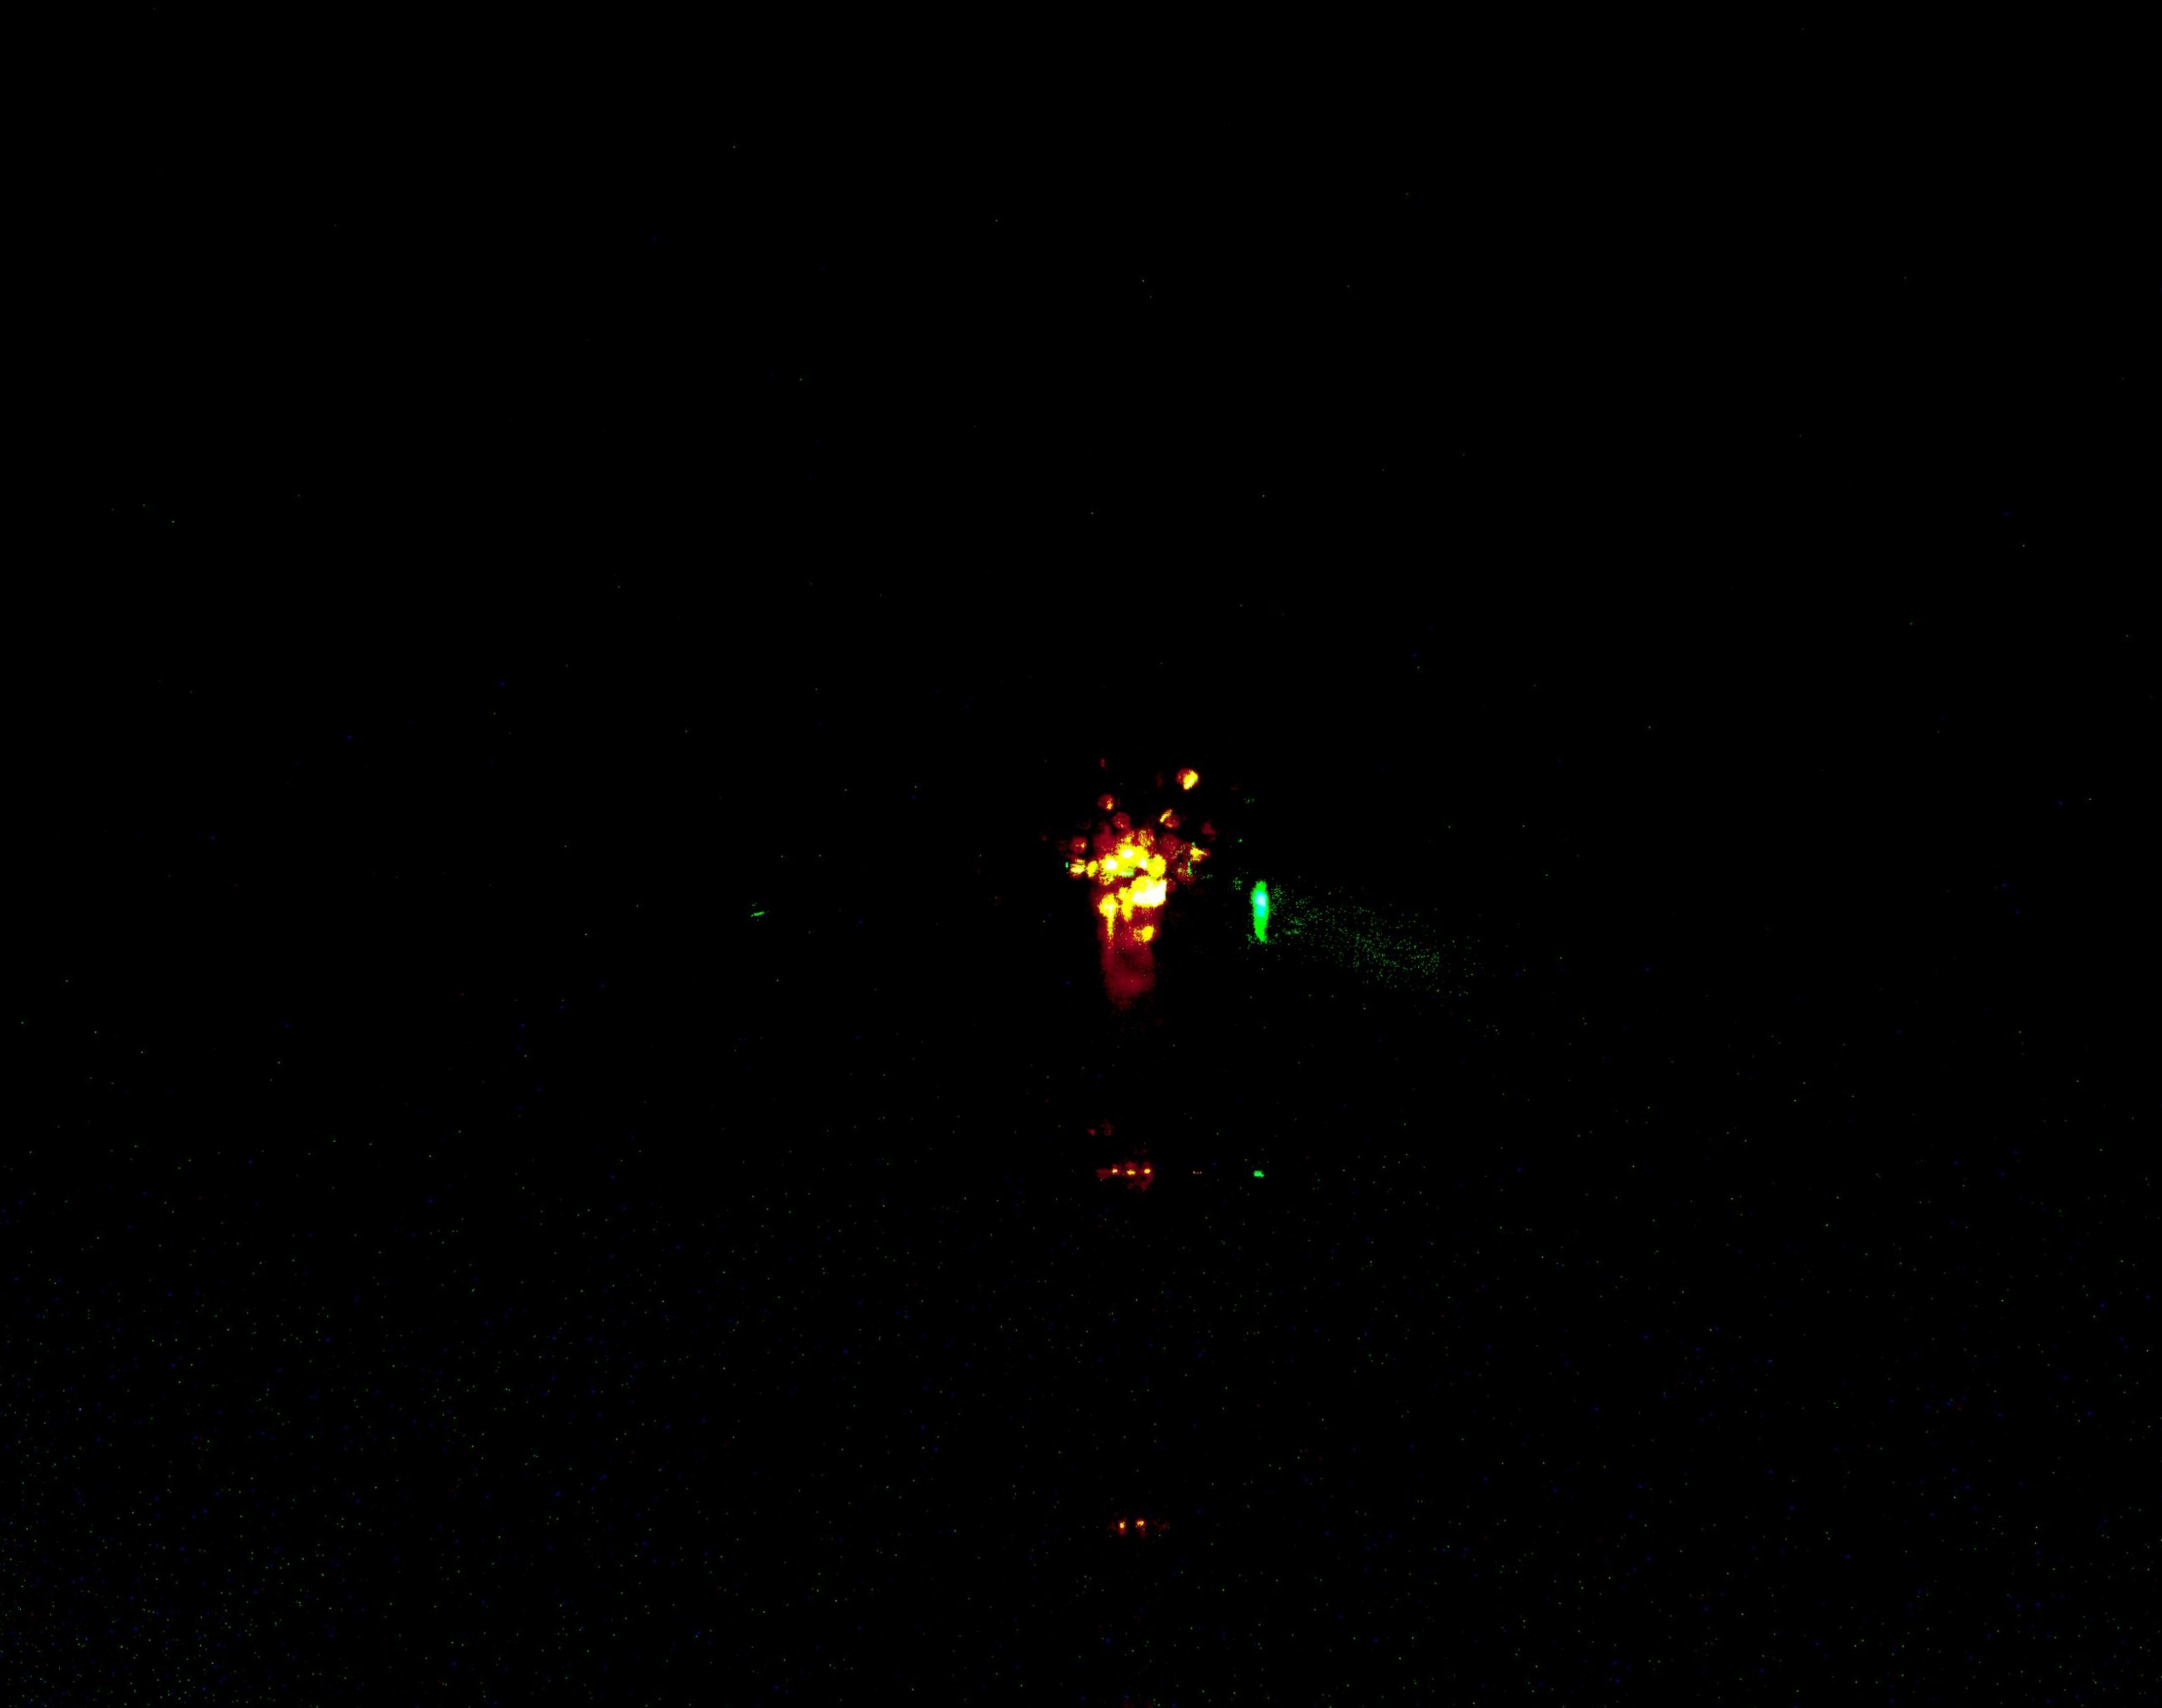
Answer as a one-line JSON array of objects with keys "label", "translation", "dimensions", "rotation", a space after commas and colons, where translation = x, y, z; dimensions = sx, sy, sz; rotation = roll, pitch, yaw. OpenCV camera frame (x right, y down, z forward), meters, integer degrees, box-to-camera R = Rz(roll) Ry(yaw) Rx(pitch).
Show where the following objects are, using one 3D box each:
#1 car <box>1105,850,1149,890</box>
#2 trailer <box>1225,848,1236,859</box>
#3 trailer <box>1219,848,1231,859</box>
[{"label": "car", "translation": [2.052, 0.673, 35.790], "dimensions": [1.793, 1.628, 3.619], "rotation": [-2, 0, 4]}, {"label": "trailer", "translation": [31.609, -0.158, 172.245], "dimensions": [1.601, 2.352, 4.429], "rotation": [0, 0, -1]}, {"label": "trailer", "translation": [31.305, -0.133, 177.172], "dimensions": [1.626, 2.364, 4.649], "rotation": [0, 0, -2]}]
